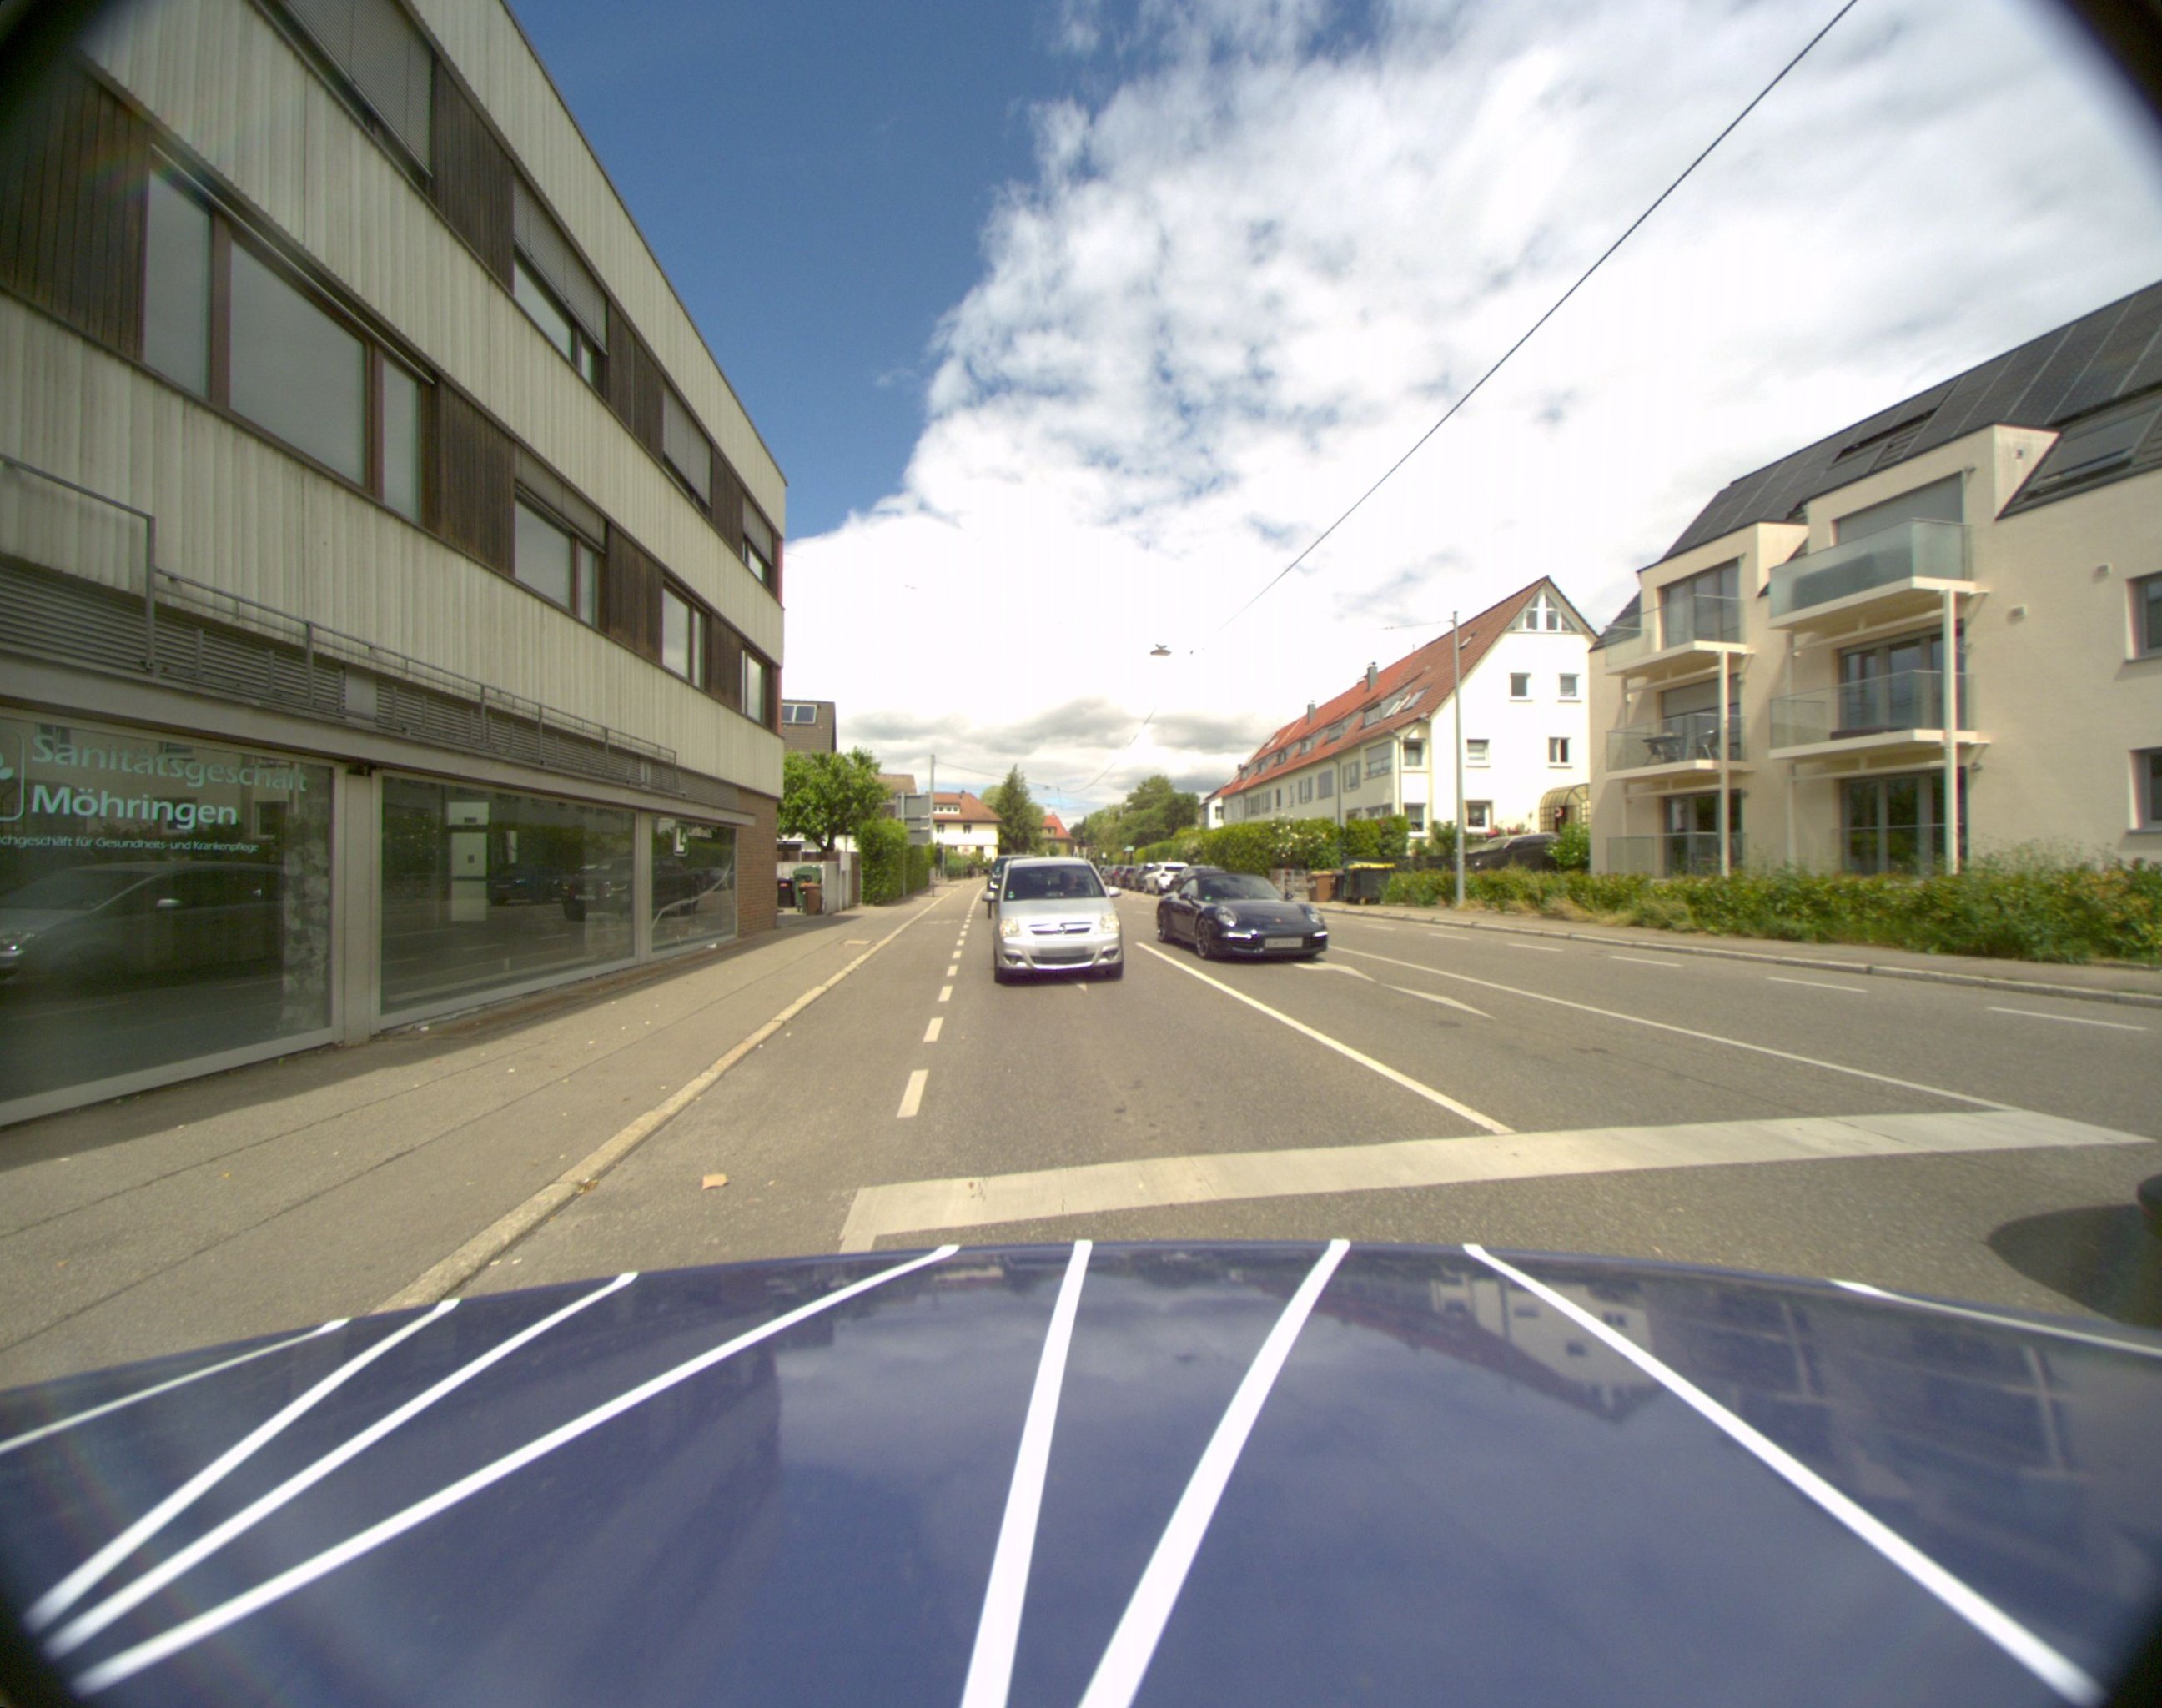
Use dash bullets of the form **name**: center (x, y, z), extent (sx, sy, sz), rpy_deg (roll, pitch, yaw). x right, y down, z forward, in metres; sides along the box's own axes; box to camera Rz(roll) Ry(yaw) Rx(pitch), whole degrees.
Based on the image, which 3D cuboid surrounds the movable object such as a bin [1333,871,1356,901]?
- **movable object such as a bin**: center (9.296, 1.122, 26.828), extent (0.522, 1.059, 0.658), rpy_deg (-1, 0, 45)

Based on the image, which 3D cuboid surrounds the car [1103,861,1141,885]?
- **car**: center (2.837, 1.295, 53.780), extent (2.000, 1.623, 4.234), rpy_deg (-1, 0, -7)

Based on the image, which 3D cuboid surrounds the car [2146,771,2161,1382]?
- **car**: center (4.386, 0.626, 0.205), extent (1.822, 1.801, 4.415), rpy_deg (-1, 0, -8)

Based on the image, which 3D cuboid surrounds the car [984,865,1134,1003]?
- **car**: center (-0.474, 0.969, 11.045), extent (1.775, 1.566, 3.999), rpy_deg (-1, 0, -6)

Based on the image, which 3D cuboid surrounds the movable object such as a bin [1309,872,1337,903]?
- **movable object such as a bin**: center (8.579, 1.191, 26.910), extent (0.763, 1.059, 0.692), rpy_deg (-1, 0, 1)

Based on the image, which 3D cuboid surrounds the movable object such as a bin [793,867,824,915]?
- **movable object such as a bin**: center (-8.372, 1.125, 23.383), extent (0.810, 1.446, 0.478), rpy_deg (-1, 0, -11)

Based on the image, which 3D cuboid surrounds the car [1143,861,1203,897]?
- **car**: center (4.489, 1.183, 37.800), extent (2.000, 1.623, 4.451), rpy_deg (-1, 0, -7)

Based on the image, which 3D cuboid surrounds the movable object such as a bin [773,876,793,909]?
- **movable object such as a bin**: center (-10.023, 1.300, 25.544), extent (0.597, 1.069, 0.488), rpy_deg (-1, 0, -25)

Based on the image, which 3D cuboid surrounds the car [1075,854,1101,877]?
- **car**: center (0.585, 1.016, 68.720), extent (1.999, 1.903, 4.067), rpy_deg (-1, 0, -4)

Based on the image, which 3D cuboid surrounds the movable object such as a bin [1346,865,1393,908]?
- **movable object such as a bin**: center (9.387, 1.043, 24.781), extent (1.092, 1.354, 0.980), rpy_deg (-1, 0, -7)

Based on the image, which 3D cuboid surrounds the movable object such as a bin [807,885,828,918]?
- **movable object such as a bin**: center (-7.815, 1.399, 22.522), extent (0.519, 0.916, 0.478), rpy_deg (-1, 0, -25)

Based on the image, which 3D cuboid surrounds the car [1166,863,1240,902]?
- **car**: center (5.179, 1.184, 32.890), extent (1.820, 1.492, 4.450), rpy_deg (-1, 0, -9)

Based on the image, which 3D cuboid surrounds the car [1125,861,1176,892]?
- **car**: center (3.880, 1.225, 43.119), extent (2.000, 1.623, 4.234), rpy_deg (-1, 0, -7)

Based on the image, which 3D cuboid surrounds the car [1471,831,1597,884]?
- **car**: center (18.372, 0.137, 30.938), extent (3.999, 2.002, 1.999), rpy_deg (-1, 0, -7)

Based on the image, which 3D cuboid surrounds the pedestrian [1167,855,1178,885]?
- **pedestrian**: center (5.486, 0.948, 45.611), extent (0.533, 1.805, 0.511), rpy_deg (-1, 0, -11)

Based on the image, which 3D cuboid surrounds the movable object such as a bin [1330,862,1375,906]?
- **movable object such as a bin**: center (9.272, 0.999, 25.958), extent (1.092, 1.438, 0.980), rpy_deg (-1, 0, -7)

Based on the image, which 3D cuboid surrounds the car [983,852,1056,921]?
- **car**: center (-2.000, 0.904, 23.288), extent (1.888, 1.838, 5.217), rpy_deg (-1, 0, -8)

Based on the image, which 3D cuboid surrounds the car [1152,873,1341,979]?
- **car**: center (2.505, 1.041, 12.564), extent (1.815, 1.356, 4.042), rpy_deg (-1, 0, -7)

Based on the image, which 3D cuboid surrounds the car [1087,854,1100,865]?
- **car**: center (2.154, 0.932, 127.900), extent (1.998, 1.903, 4.070), rpy_deg (-1, 0, 4)

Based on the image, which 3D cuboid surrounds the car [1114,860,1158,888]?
- **car**: center (3.474, 1.260, 48.820), extent (2.000, 1.623, 4.234), rpy_deg (2, -1, -7)

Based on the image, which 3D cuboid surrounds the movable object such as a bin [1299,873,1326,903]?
- **movable object such as a bin**: center (8.424, 1.229, 27.645), extent (0.763, 1.059, 0.692), rpy_deg (-1, 0, 1)
